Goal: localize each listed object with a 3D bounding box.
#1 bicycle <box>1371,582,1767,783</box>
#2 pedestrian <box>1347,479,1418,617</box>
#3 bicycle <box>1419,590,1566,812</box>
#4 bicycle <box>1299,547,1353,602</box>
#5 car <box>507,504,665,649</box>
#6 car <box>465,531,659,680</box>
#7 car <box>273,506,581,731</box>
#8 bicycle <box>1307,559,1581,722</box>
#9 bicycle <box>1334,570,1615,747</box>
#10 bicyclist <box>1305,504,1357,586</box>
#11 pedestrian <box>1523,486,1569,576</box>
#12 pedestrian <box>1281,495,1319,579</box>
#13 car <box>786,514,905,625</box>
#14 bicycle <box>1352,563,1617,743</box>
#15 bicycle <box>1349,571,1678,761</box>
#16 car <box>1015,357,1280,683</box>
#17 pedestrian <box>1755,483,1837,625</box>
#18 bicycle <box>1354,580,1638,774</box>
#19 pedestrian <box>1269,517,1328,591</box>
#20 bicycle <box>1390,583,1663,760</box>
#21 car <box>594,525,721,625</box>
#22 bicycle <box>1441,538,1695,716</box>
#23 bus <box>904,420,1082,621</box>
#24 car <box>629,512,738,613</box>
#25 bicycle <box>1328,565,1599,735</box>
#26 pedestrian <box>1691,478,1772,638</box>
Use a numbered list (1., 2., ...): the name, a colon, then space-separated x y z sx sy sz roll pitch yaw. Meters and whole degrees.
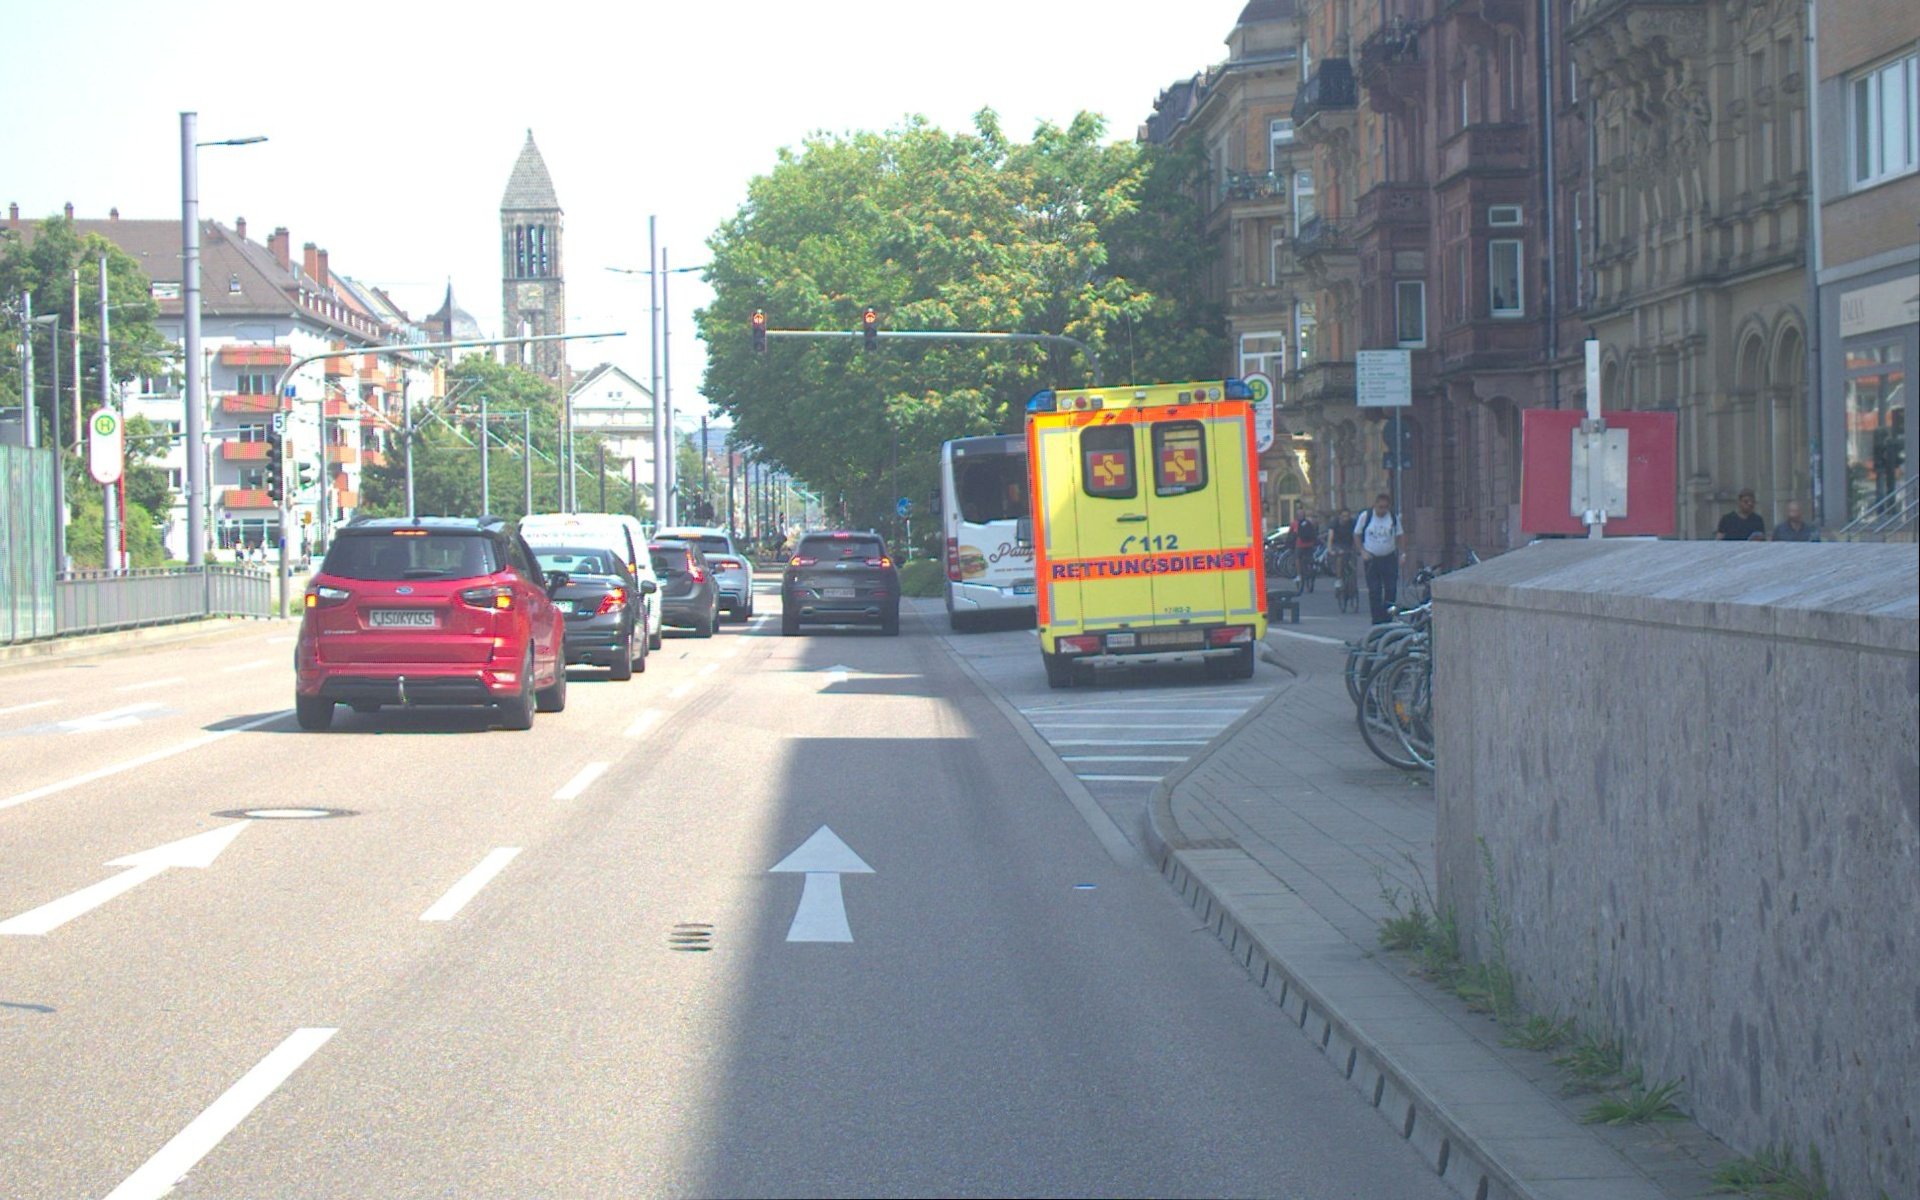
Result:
1. bicycle: 3.359 0.447 18.997 2.120 1.068 0.382 0 2 -5
2. pedestrian: 5.152 -0.631 41.889 0.697 1.661 0.602 0 1 24
3. bicycle: 2.756 0.503 17.890 0.475 1.067 1.506 -1 1 -2
4. bicycle: 5.985 -0.424 56.226 0.589 0.852 1.776 -1 1 -3
5. car: -4.820 -0.312 44.751 1.790 1.774 4.000 -1 1 -3
6. car: -4.172 0.013 36.543 1.790 1.426 4.001 -1 2 -3
7. car: -4.117 0.080 27.160 1.762 1.612 4.083 -1 2 0
8. bicycle: 3.255 0.268 23.212 1.776 1.068 0.644 0 1 3
9. bicycle: 3.222 0.360 21.625 1.658 1.068 0.644 0 2 -1
10. bicyclist: 6.049 -0.903 56.033 0.753 1.317 0.582 -1 1 -2
11. pedestrian: 10.493 -1.233 61.566 0.622 1.587 0.696 -1 1 -7
12. pedestrian: 6.776 -1.249 68.543 0.697 1.661 0.603 -1 1 1
13. car: -1.847 -0.483 54.389 1.790 1.672 4.000 -1 1 -3
14. bicycle: 3.200 0.317 21.026 1.537 1.068 0.472 0 2 -1
15. bicycle: 3.186 0.375 19.858 1.835 1.068 0.365 0 2 -1
16. car: 1.807 -0.810 34.059 2.299 2.878 5.599 -2 2 2
17. pedestrian: 8.921 -0.495 36.713 0.643 1.488 0.789 -1 1 -2
18. bicycle: 3.022 0.431 19.426 1.537 1.068 0.365 0 2 -1
19. pedestrian: 8.383 -1.141 85.194 1.249 1.745 1.526 -1 3 -1
20. bicycle: 3.327 0.416 20.224 1.537 1.013 0.365 0 2 -1
21. car: -4.634 -0.393 53.072 1.790 1.467 4.000 -1 1 -3
22. bicycle: 4.210 0.180 23.895 1.674 1.211 0.644 0 1 4
23. bus: 0.406 -1.356 58.780 2.533 3.021 12.437 -1 1 -2
24. car: -4.848 -0.665 60.663 1.790 1.692 4.000 -1 1 -3
25. bicycle: 3.268 0.319 22.394 1.658 1.068 0.644 0 1 -1
26. pedestrian: 8.234 -0.456 36.717 0.643 1.679 0.789 -1 1 -2
